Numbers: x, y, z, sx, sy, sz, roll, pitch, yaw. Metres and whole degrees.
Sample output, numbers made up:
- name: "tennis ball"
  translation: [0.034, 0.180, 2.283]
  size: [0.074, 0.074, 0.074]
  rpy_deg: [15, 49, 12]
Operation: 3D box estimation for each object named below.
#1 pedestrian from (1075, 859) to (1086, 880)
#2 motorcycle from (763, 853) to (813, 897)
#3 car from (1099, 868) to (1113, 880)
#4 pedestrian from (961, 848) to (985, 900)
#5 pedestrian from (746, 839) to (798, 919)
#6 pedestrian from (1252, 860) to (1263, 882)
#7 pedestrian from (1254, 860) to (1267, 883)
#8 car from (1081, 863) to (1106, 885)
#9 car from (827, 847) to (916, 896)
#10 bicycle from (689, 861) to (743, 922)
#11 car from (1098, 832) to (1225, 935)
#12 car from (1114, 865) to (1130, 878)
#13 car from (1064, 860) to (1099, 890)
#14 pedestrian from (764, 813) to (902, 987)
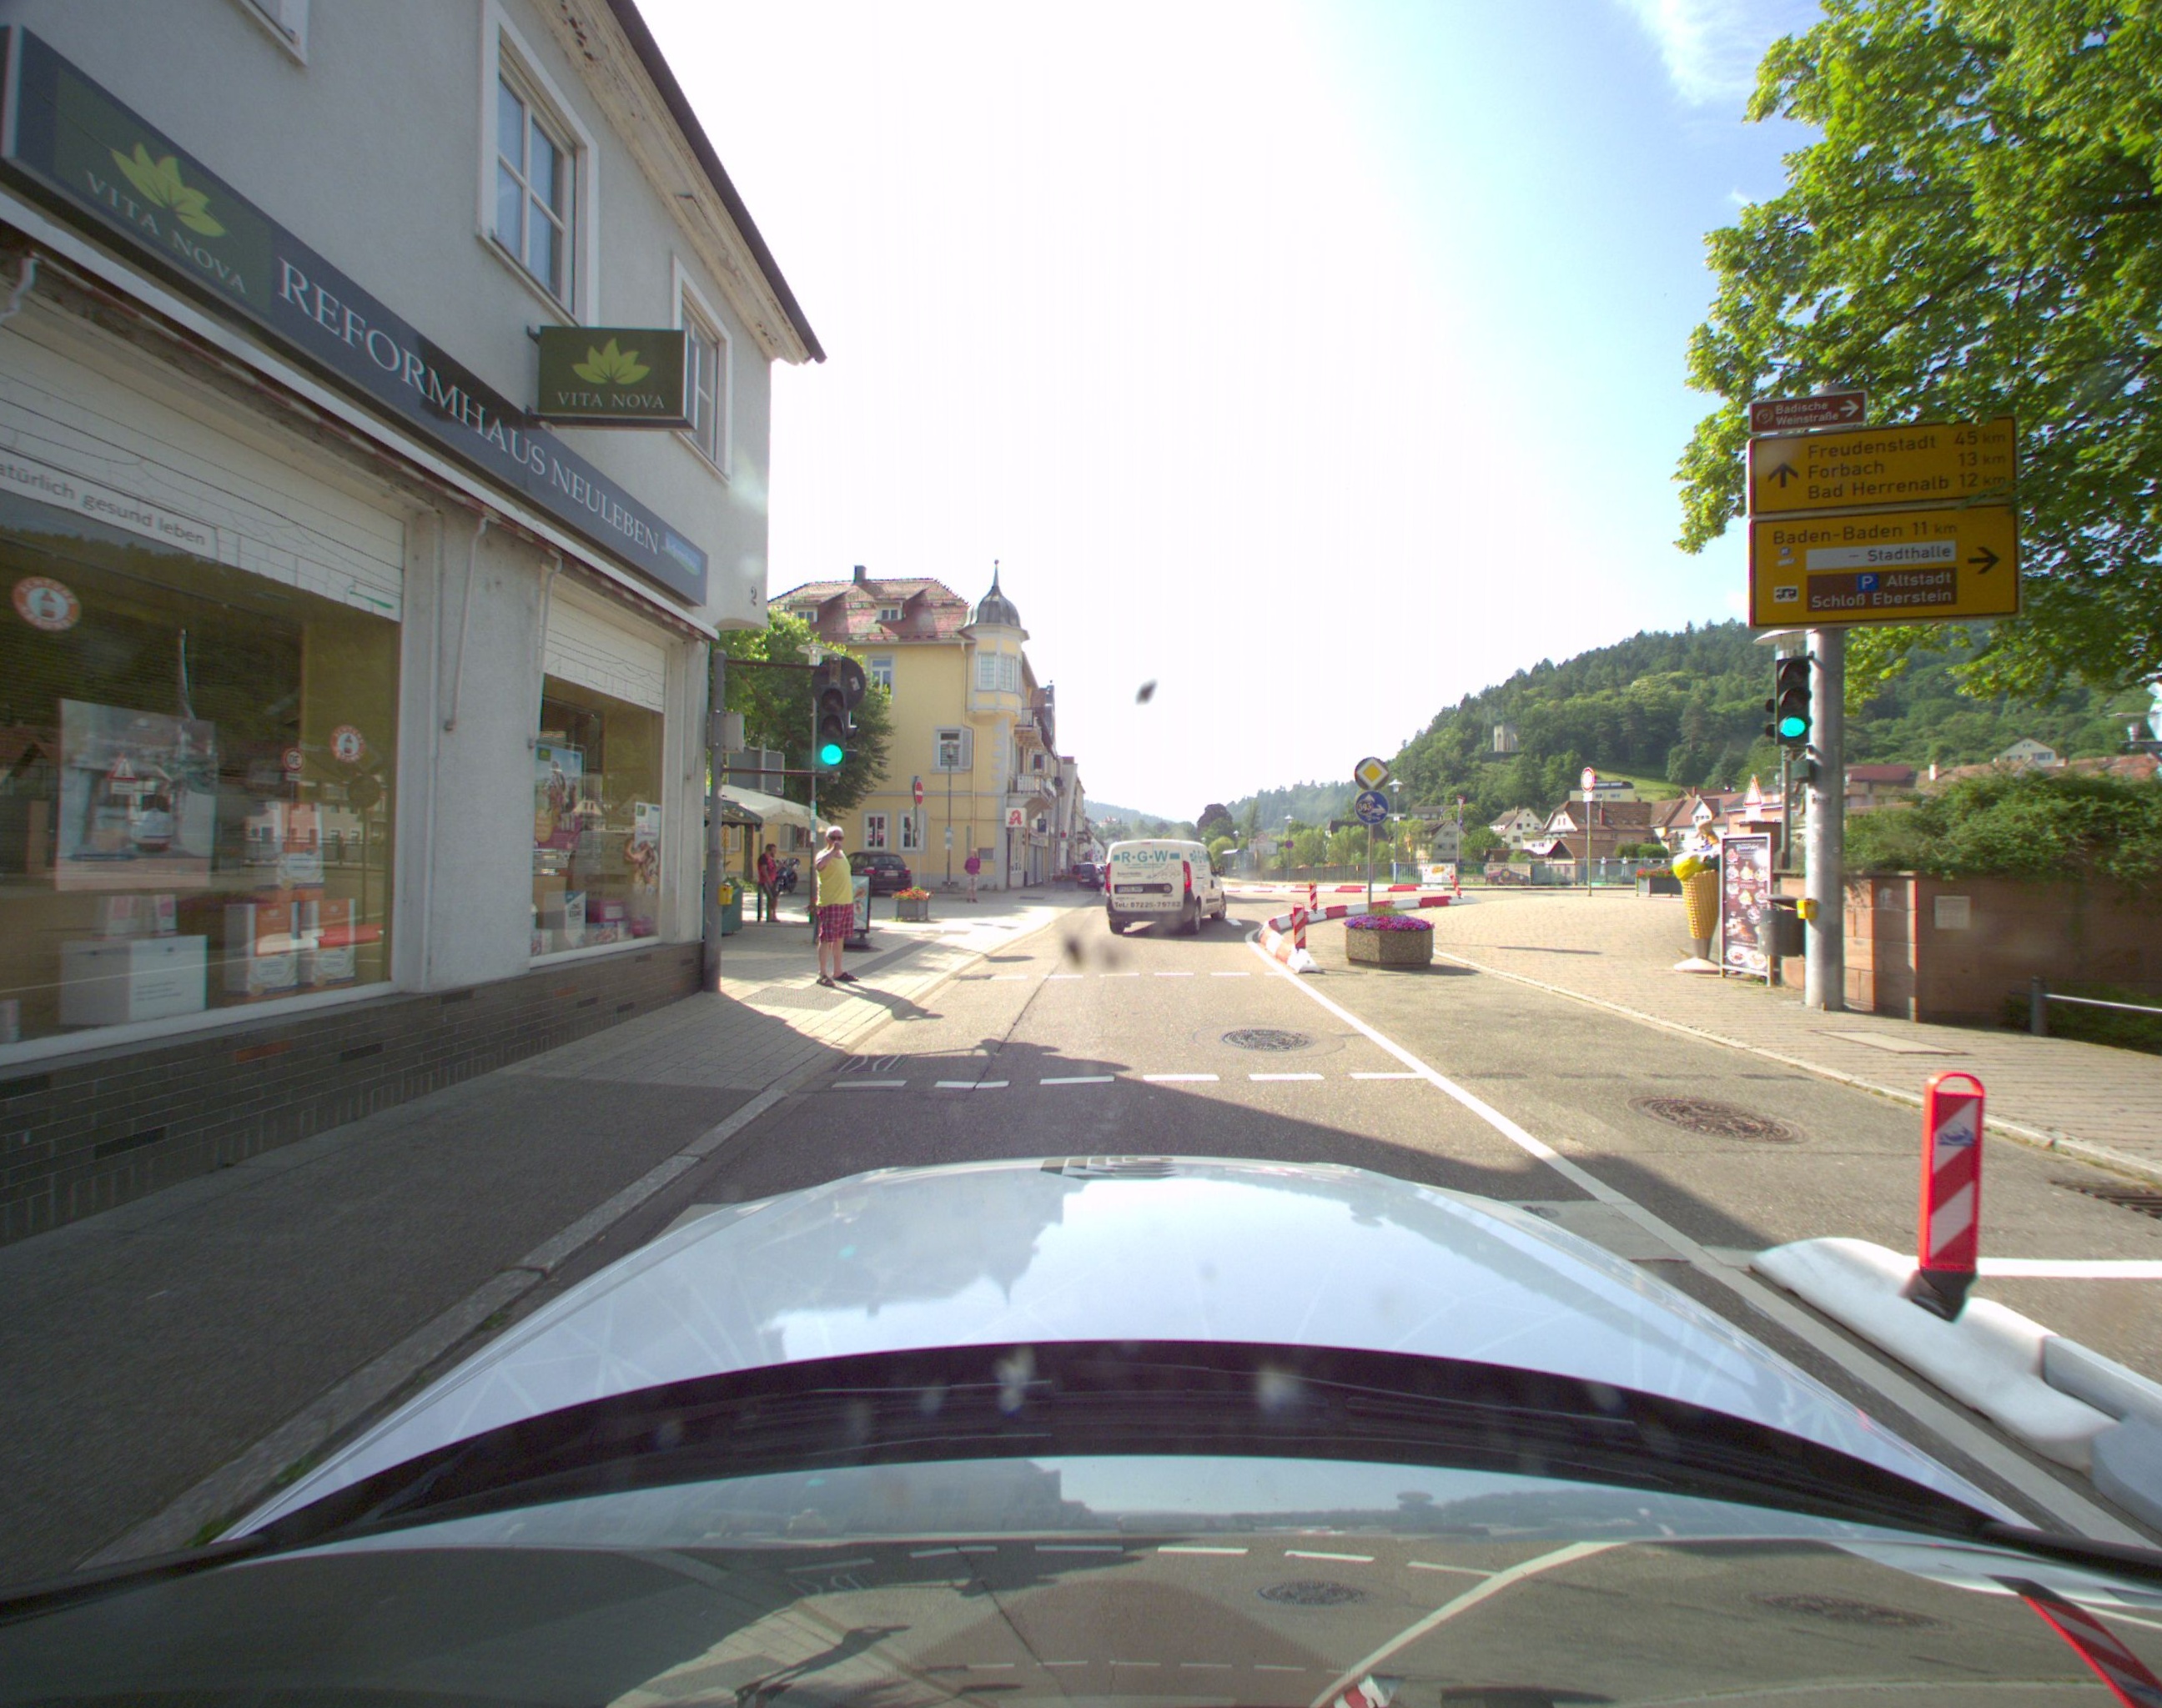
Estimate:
- name: "pedestrian"
  translation: [-0.031, 1.281, 68.172]
  size: [0.682, 1.696, 0.664]
  rpy_deg: [-1, -1, 29]
- name: "motorcycle"
  translation: [-9.910, 0.683, 27.612]
  size: [0.882, 1.360, 2.088]
  rpy_deg: [0, 2, 1]
- name: "car"
  translation: [3.056, 2.420, 99.820]
  size: [1.741, 1.448, 3.277]
  rpy_deg: [0, -1, 1]
- name: "pedestrian"
  translation: [-3.602, 0.653, 27.098]
  size: [0.675, 1.714, 0.617]
  rpy_deg: [1, 0, 1]
- name: "pedestrian"
  translation: [-6.628, 0.549, 17.506]
  size: [0.566, 1.659, 0.886]
  rpy_deg: [1, -3, 11]
- name: "pedestrian"
  translation: [13.580, 1.319, 62.681]
  size: [0.786, 1.706, 0.492]
  rpy_deg: [1, -1, 4]
- name: "pedestrian"
  translation: [13.646, 1.311, 62.033]
  size: [0.863, 1.706, 0.778]
  rpy_deg: [1, -1, 4]
- name: "car"
  translation: [0.890, 1.400, 57.266]
  size: [1.741, 1.448, 3.795]
  rpy_deg: [0, -1, 1]
- name: "car"
  translation: [-7.529, 0.581, 29.032]
  size: [1.930, 1.543, 3.919]
  rpy_deg: [2, 1, -32]
- name: "bicycle"
  translation: [-7.864, 0.777, 17.616]
  size: [0.615, 1.235, 1.856]
  rpy_deg: [1, 0, -10]
- name: "car"
  translation: [1.851, 0.549, 17.325]
  size: [1.830, 1.906, 4.334]
  rpy_deg: [0, 0, 17]
- name: "car"
  translation: [5.413, 2.347, 107.893]
  size: [1.986, 1.662, 4.002]
  rpy_deg: [1, -1, 2]
- name: "car"
  translation: [0.056, 1.131, 44.198]
  size: [1.840, 1.568, 3.568]
  rpy_deg: [0, -1, 1]
- name: "pedestrian"
  translation: [-2.835, 0.506, 9.365]
  size: [1.008, 1.815, 0.913]
  rpy_deg: [5, -1, 29]
